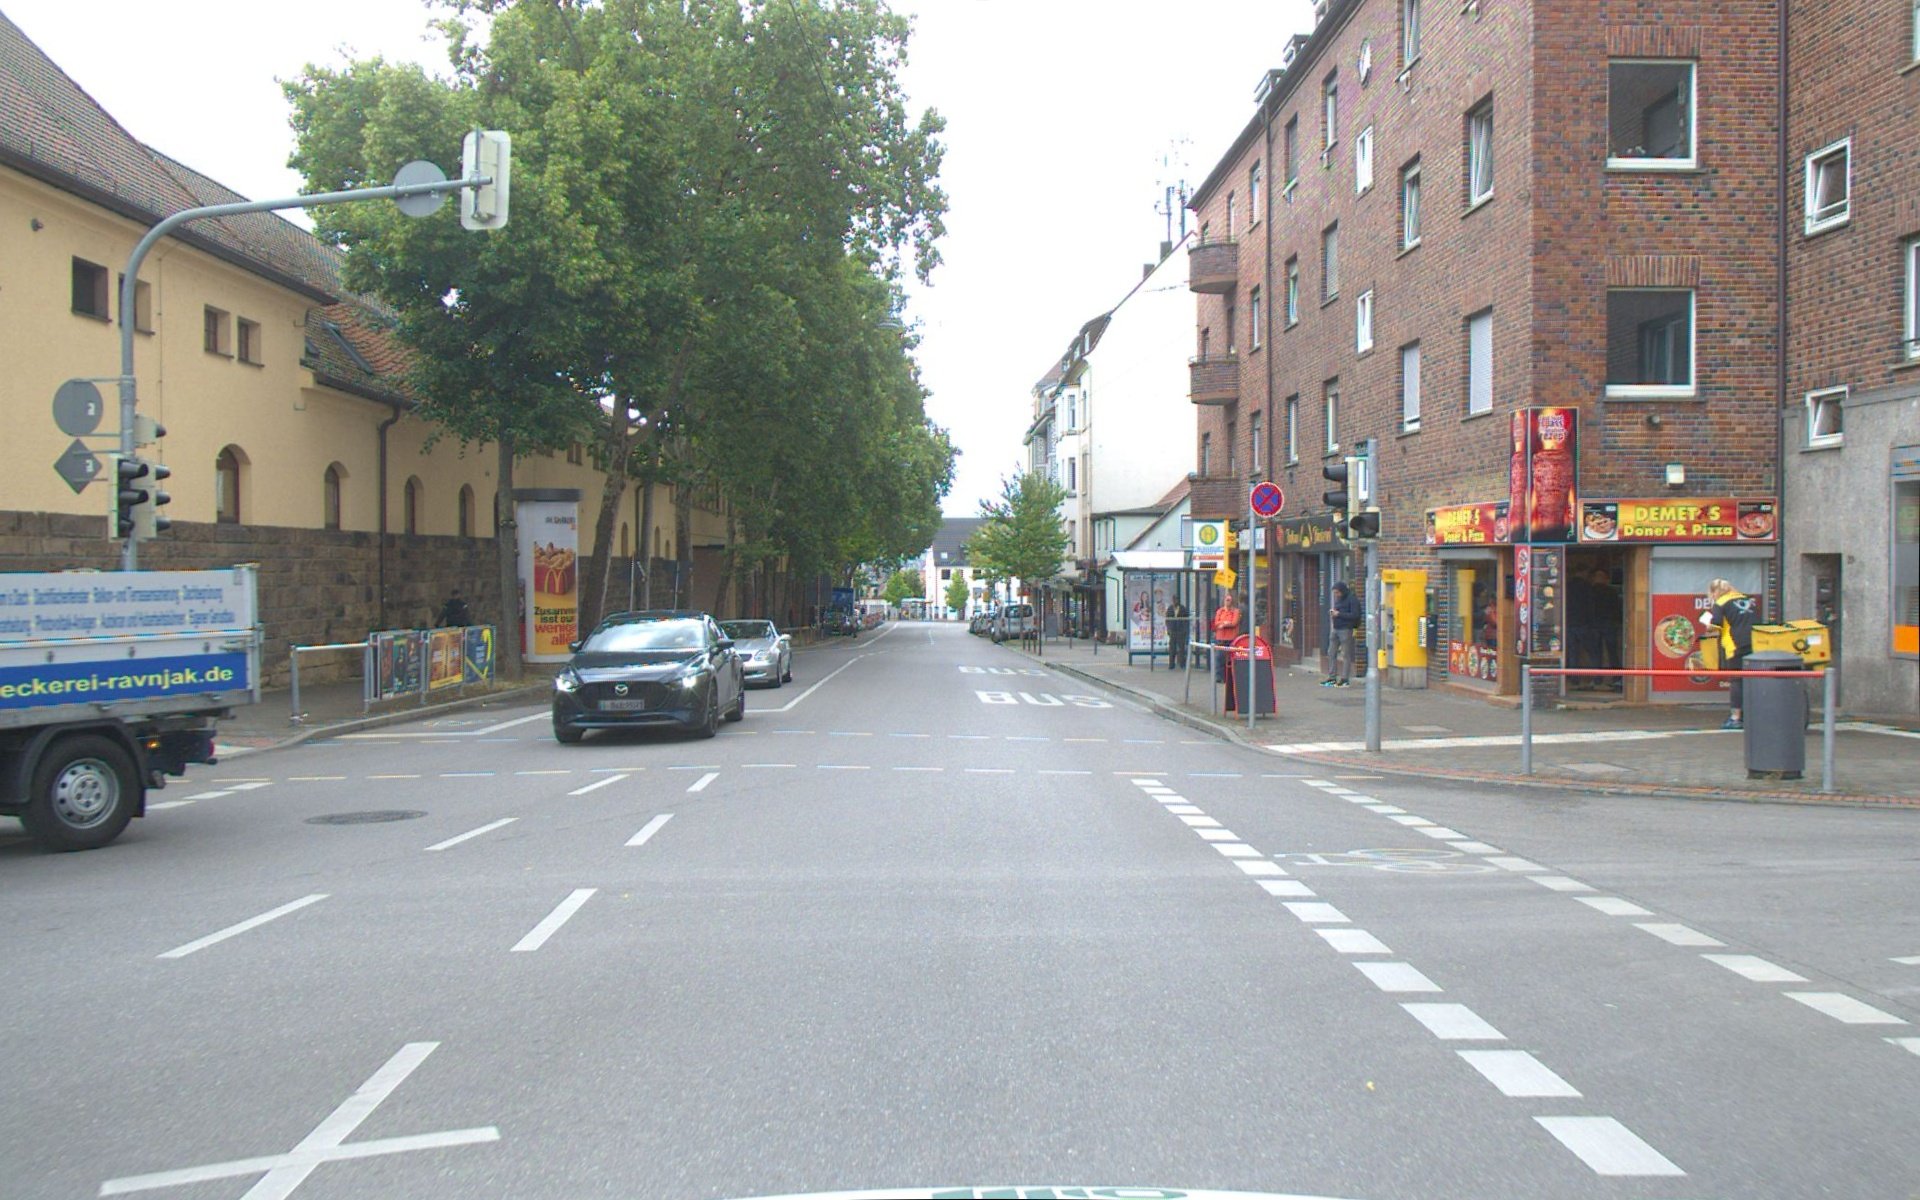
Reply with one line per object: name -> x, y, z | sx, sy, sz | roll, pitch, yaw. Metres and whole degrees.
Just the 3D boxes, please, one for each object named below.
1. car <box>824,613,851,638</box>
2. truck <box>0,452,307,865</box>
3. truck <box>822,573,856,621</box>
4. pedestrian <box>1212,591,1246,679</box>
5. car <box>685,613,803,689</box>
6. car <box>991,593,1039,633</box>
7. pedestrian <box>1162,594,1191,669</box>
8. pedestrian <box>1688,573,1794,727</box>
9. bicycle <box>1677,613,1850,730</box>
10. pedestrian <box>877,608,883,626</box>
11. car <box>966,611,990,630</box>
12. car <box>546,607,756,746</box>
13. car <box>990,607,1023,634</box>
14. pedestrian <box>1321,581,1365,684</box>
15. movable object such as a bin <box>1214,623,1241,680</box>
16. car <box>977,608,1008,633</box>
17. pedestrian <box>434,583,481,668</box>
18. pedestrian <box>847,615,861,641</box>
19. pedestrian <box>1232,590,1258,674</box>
car -> -8.165, 1.709, 110.613 | 1.798, 1.605, 3.753 | 0, 0, -4
truck -> -7.232, 0.381, 9.546 | 2.253, 2.470, 6.398 | -1, 0, 30
truck -> -8.755, -0.220, 119.912 | 2.186, 3.405, 7.446 | 0, 0, -2
pedestrian -> 5.160, 0.663, 31.696 | 0.553, 1.665, 0.681 | 0, 0, 19
car -> -4.111, 0.958, 32.055 | 1.651, 1.298, 4.095 | -3, -1, 1
car -> 2.778, 0.644, 84.132 | 1.954, 1.969, 4.915 | 0, 0, -4
pedestrian -> 5.136, 0.737, 39.275 | 0.656, 1.758, 0.764 | 0, 0, 4
pedestrian -> 8.895, 0.555, 18.857 | 0.772, 1.685, 0.772 | -2, 0, -1
bicycle -> 8.963, 0.756, 18.570 | 0.744, 1.214, 2.391 | 0, 0, -1
pedestrian -> -8.836, 1.879, 183.221 | 0.620, 2.049, 0.784 | 0, 0, 0
car -> 1.488, 1.711, 137.479 | 1.636, 1.574, 3.753 | 0, 0, -4
car -> -3.584, 0.830, 19.896 | 1.668, 1.439, 4.192 | -1, 0, 0
car -> 2.728, 1.188, 97.901 | 1.636, 1.574, 3.753 | 0, 0, -4
pedestrian -> 6.667, 0.560, 28.802 | 0.634, 1.780, 0.778 | 0, 0, 4
movable object such as a bin -> 5.083, 0.977, 31.394 | 0.443, 1.075, 0.410 | 0, -1, 18
car -> 2.098, 1.331, 107.513 | 1.636, 1.574, 3.753 | 0, 0, -4
pedestrian -> -10.993, 0.550, 36.222 | 0.761, 1.826, 0.874 | 0, 0, -1
pedestrian -> -6.451, 1.719, 100.894 | 0.665, 1.563, 0.605 | 0, 0, -30
pedestrian -> 6.164, 0.688, 35.763 | 0.469, 1.796, 0.457 | 0, -1, -2
